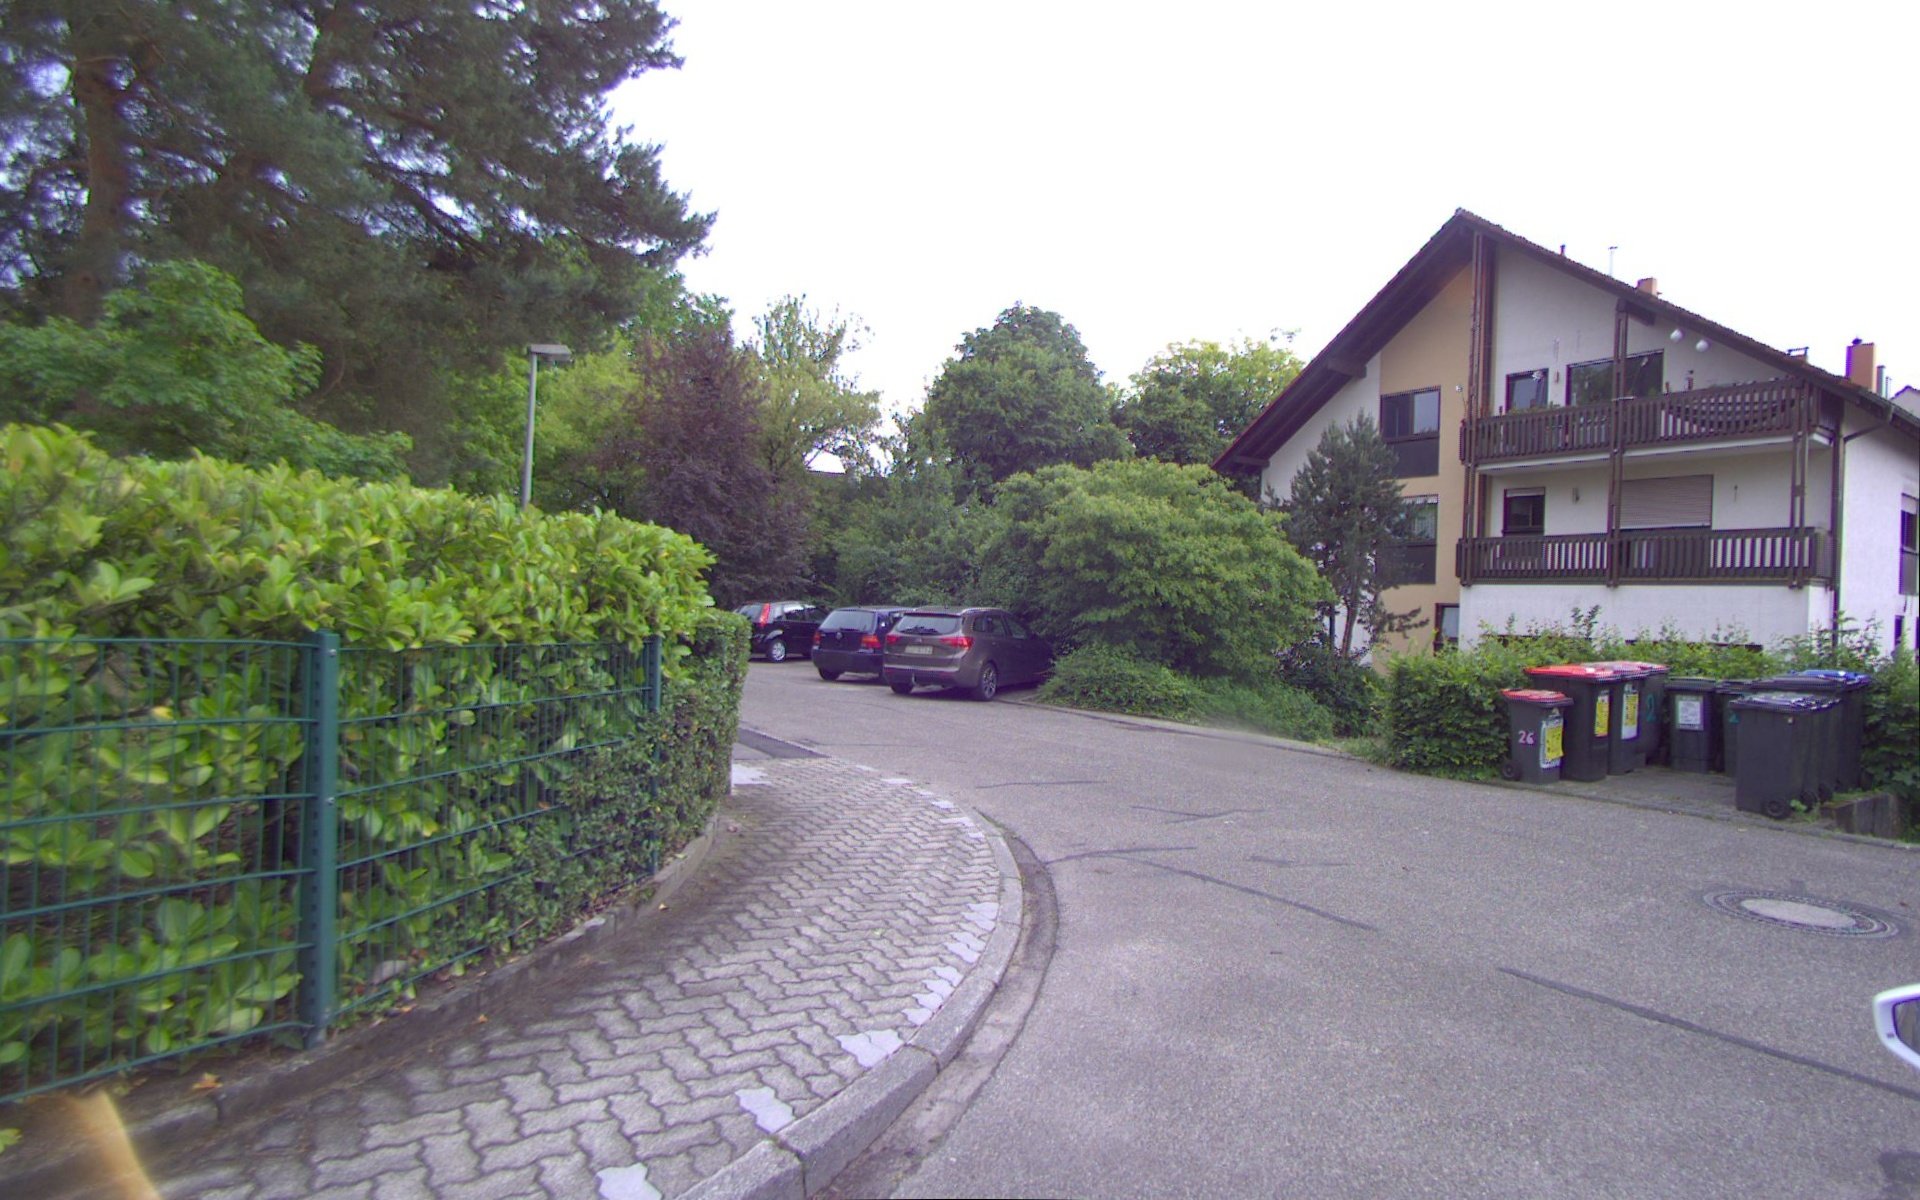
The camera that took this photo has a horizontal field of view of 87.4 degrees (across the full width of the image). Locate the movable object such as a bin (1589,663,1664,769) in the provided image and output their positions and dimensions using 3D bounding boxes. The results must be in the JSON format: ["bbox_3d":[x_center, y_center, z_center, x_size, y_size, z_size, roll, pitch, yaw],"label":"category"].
[{"bbox_3d":[6.892,1.184,10.392,0.335,1.007,0.533,1,1,-38],"label":"movable object such as a bin"}]

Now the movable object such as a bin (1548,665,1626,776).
[{"bbox_3d":[6.156,1.171,9.868,0.335,1.007,0.533,1,1,-38],"label":"movable object such as a bin"}]

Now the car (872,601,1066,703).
[{"bbox_3d":[0.291,0.832,17.475,1.670,1.510,3.994,2,0,28],"label":"car"}]

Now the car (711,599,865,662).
[{"bbox_3d":[-4.184,0.740,25.051,1.670,1.393,3.994,2,0,28],"label":"car"}]

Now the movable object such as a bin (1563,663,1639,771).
[{"bbox_3d":[6.429,1.162,10.088,0.335,1.007,0.533,1,1,-38],"label":"movable object such as a bin"}]

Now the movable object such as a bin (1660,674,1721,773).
[{"bbox_3d":[7.260,1.216,9.983,0.376,0.913,0.383,1,1,-39],"label":"movable object such as a bin"}]

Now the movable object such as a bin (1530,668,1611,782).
[{"bbox_3d":[5.856,1.179,9.643,0.376,1.007,0.533,1,1,-39],"label":"movable object such as a bin"}]

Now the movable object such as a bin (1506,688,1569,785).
[{"bbox_3d":[5.453,1.277,9.485,0.376,0.848,0.383,1,1,-39],"label":"movable object such as a bin"}]

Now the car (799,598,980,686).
[{"bbox_3d":[-1.274,0.780,19.943,1.670,1.510,3.994,2,0,28],"label":"car"}]

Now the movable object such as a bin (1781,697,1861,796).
[{"bbox_3d":[7.770,1.310,9.066,0.376,0.808,0.456,1,1,-37],"label":"movable object such as a bin"}]

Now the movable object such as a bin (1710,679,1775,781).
[{"bbox_3d":[7.517,1.237,9.652,0.376,0.901,0.383,1,1,-39],"label":"movable object such as a bin"}]

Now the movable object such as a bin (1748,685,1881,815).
[{"bbox_3d":[7.281,1.249,8.569,0.579,0.966,0.728,1,1,-37],"label":"movable object such as a bin"}]

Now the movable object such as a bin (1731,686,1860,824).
[{"bbox_3d":[6.739,1.218,8.103,0.716,0.966,0.633,1,1,-37],"label":"movable object such as a bin"}]

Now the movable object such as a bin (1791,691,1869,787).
[{"bbox_3d":[8.096,1.279,9.350,0.376,0.808,0.456,1,1,-37],"label":"movable object such as a bin"}]
